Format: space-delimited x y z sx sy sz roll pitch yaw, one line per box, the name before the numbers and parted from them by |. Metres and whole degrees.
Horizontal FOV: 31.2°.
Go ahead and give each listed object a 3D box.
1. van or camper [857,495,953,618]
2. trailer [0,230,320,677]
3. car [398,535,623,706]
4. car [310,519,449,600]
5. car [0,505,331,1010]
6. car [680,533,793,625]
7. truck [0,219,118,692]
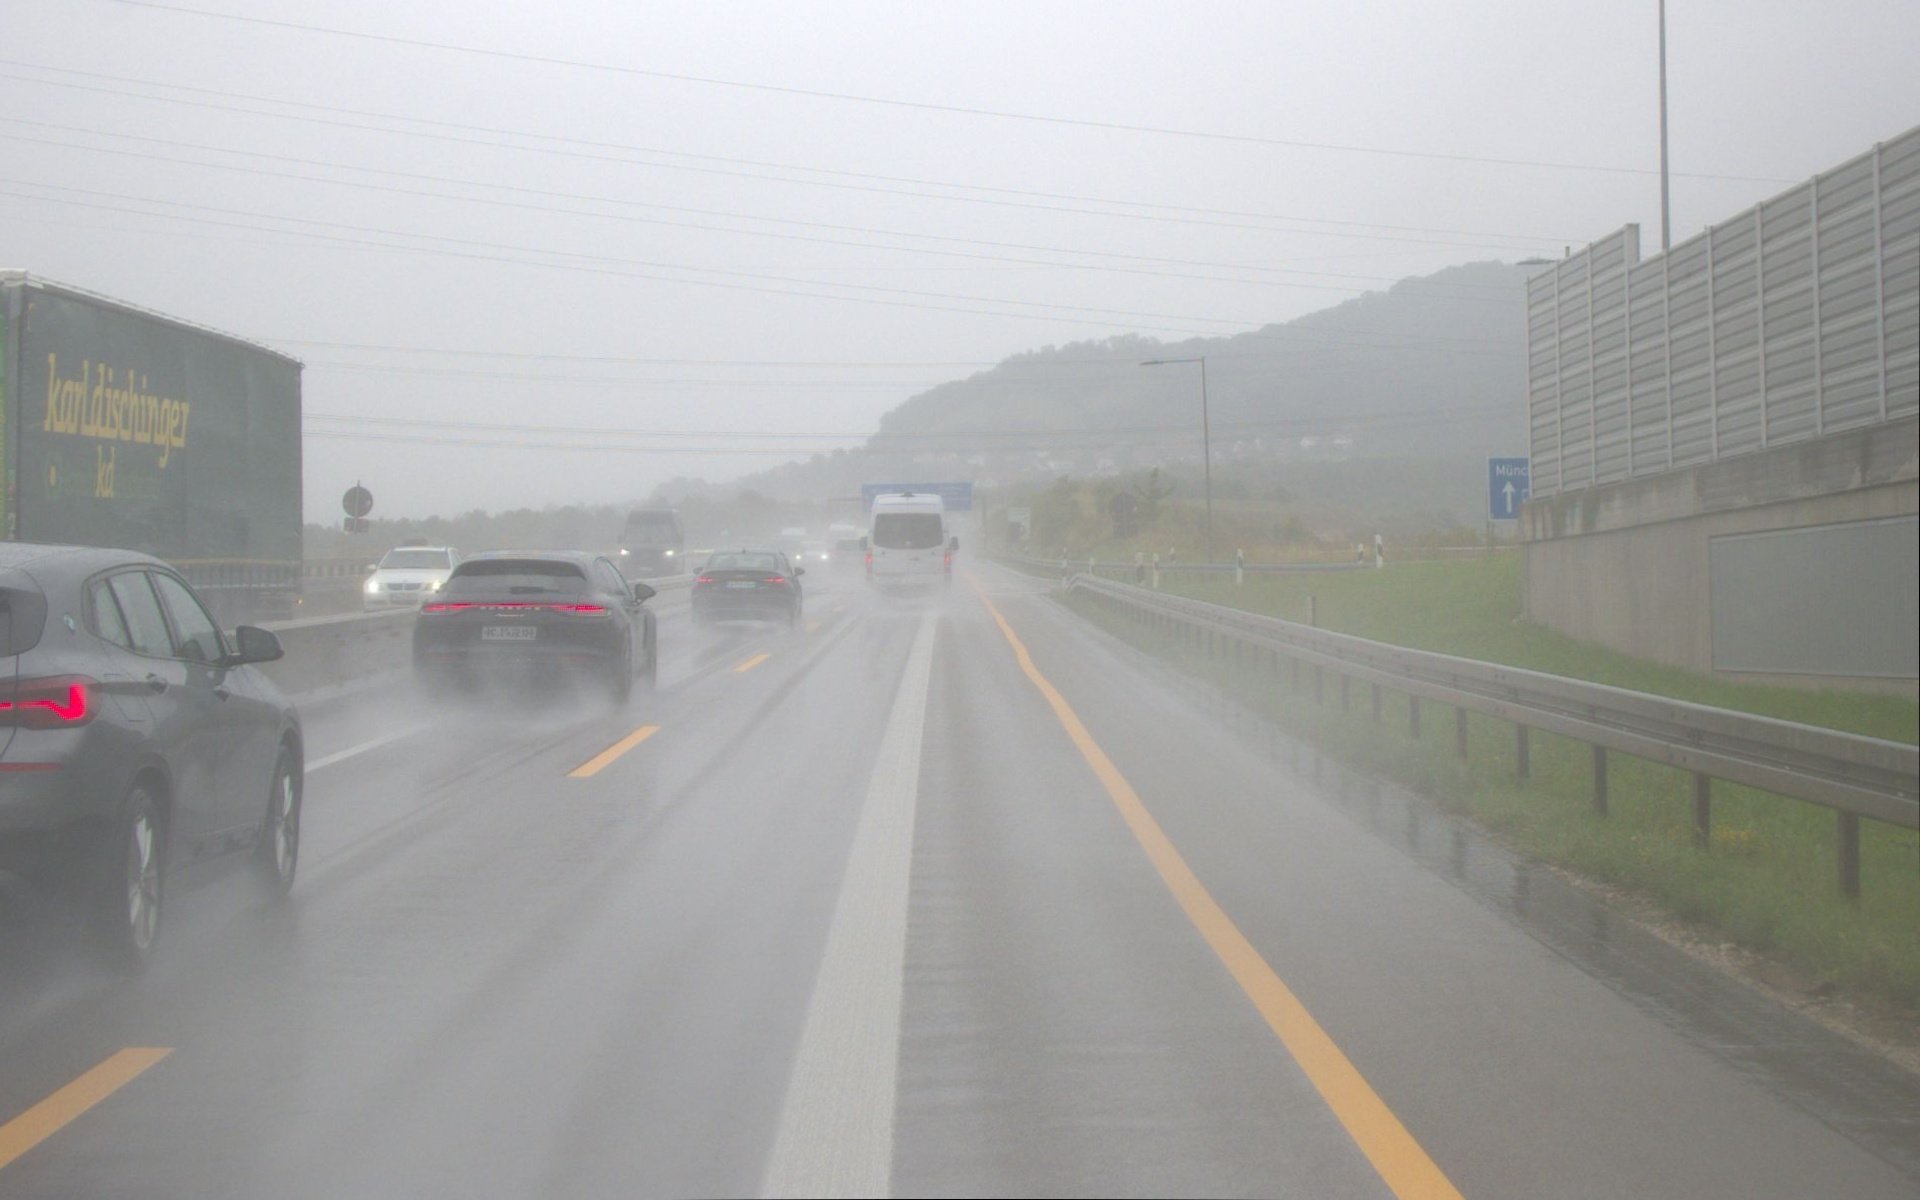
van or camper | -1.307 -0.973 80.149 1.996 2.768 4.050 1 0 -4
trailer | -10.204 -1.585 41.057 2.581 4.442 13.553 1 1 0
car | -4.159 0.195 32.381 1.844 1.486 4.262 1 0 -4
car | -10.998 -0.788 65.492 1.727 1.432 5.438 1 1 0
car | -3.559 0.507 13.259 1.700 1.592 4.846 1 0 -4
car | -3.930 -0.393 60.250 1.844 1.486 4.262 -2 1 -4
truck | -10.208 -1.372 33.225 2.608 4.373 6.290 1 1 0
